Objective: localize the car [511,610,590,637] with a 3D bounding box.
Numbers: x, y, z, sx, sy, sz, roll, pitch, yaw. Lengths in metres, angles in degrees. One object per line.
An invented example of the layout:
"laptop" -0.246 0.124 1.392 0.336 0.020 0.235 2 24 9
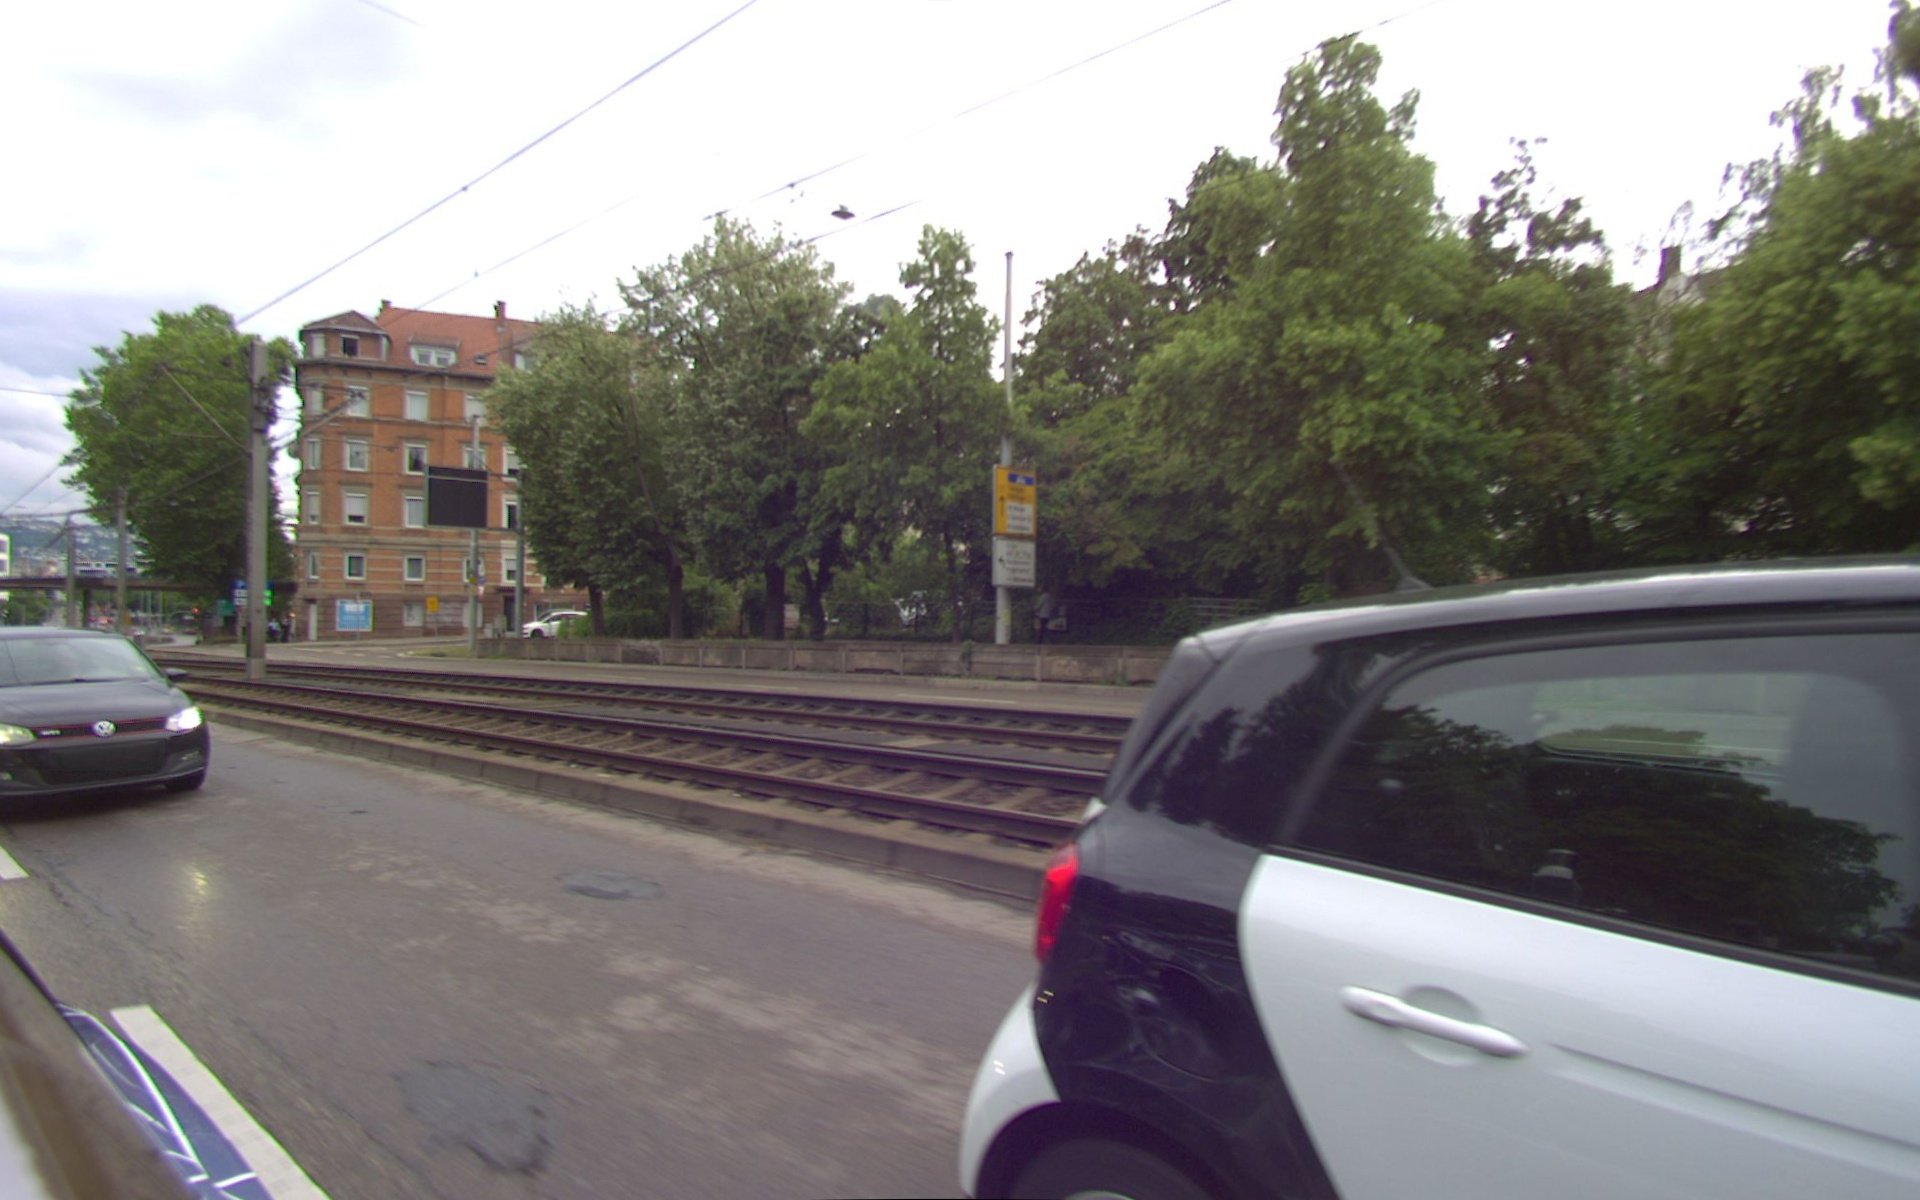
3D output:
"car" -25.484 1.435 63.040 4.361 1.610 1.847 0 -1 -28

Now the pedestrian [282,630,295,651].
"pedestrian" -44.420 2.665 66.956 0.538 1.364 0.612 -1 0 40

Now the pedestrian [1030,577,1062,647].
"pedestrian" 2.419 0.337 28.383 0.653 1.917 0.590 -1 0 39

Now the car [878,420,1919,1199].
"car" 1.778 0.600 1.280 3.720 1.542 1.658 -1 -2 42

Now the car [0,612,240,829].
"car" -7.959 0.897 8.719 3.958 1.497 1.777 -2 -1 37
